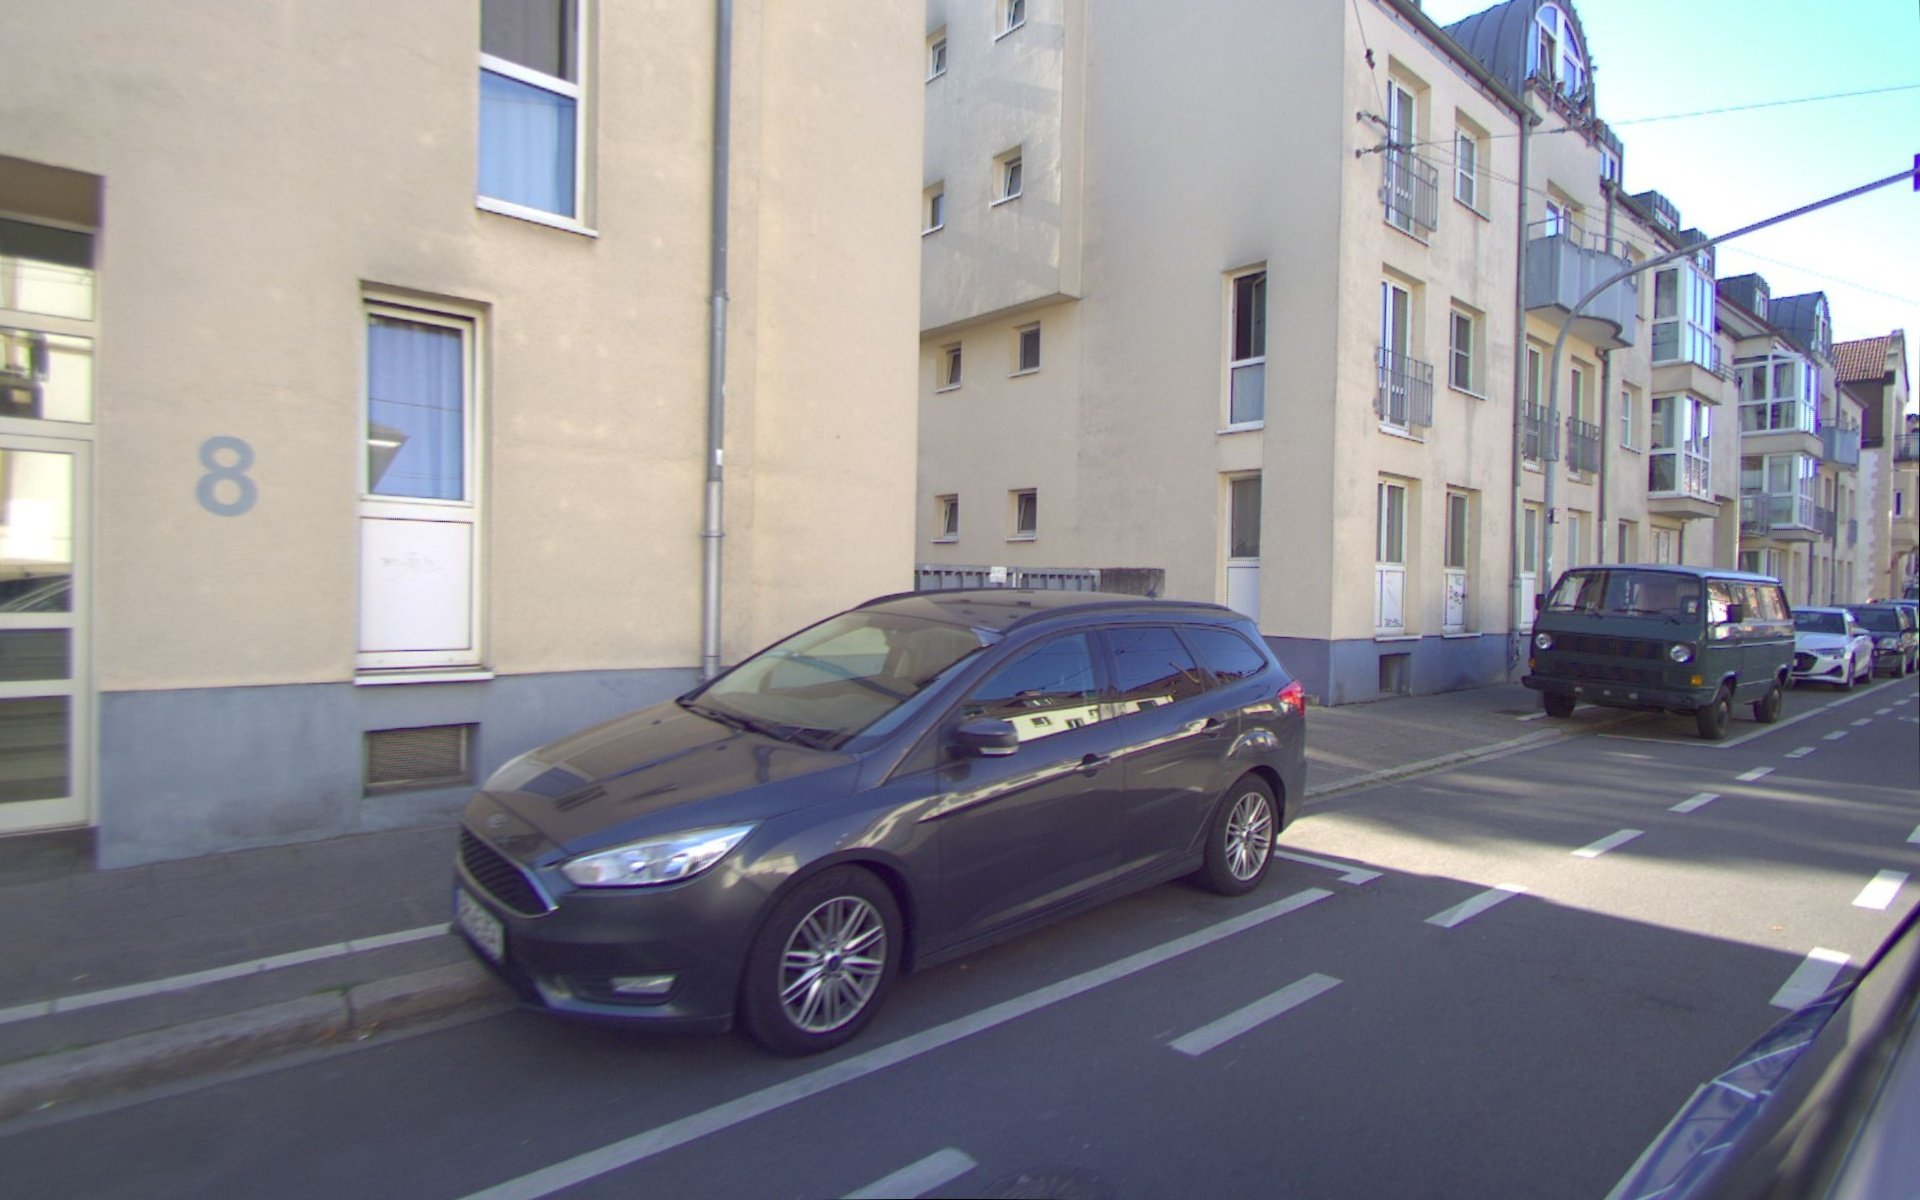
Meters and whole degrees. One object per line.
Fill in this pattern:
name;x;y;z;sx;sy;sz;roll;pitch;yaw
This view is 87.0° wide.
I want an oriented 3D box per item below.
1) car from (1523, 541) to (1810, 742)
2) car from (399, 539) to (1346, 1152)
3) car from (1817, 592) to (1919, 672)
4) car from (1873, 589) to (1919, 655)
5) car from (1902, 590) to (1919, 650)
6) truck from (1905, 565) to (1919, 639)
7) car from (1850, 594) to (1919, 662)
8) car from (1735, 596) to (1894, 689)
car;8.752;0.425;12.376;4.484;2.012;1.908;0;-1;-42
car;-0.025;0.655;4.819;4.358;1.619;1.746;0;-1;-43
car;19.726;0.633;21.708;3.589;1.577;1.556;0;-1;-42
car;26.406;0.576;27.716;3.919;1.721;1.605;0;-1;-41
car;30.483;0.602;31.146;4.181;1.769;1.742;0;-1;-41
truck;35.239;0.110;35.552;6.038;2.508;2.300;0;1;-41
car;23.053;0.646;24.790;3.307;1.577;1.498;0;-1;-42
car;15.701;0.699;18.527;4.100;1.510;1.679;0;-1;-42
